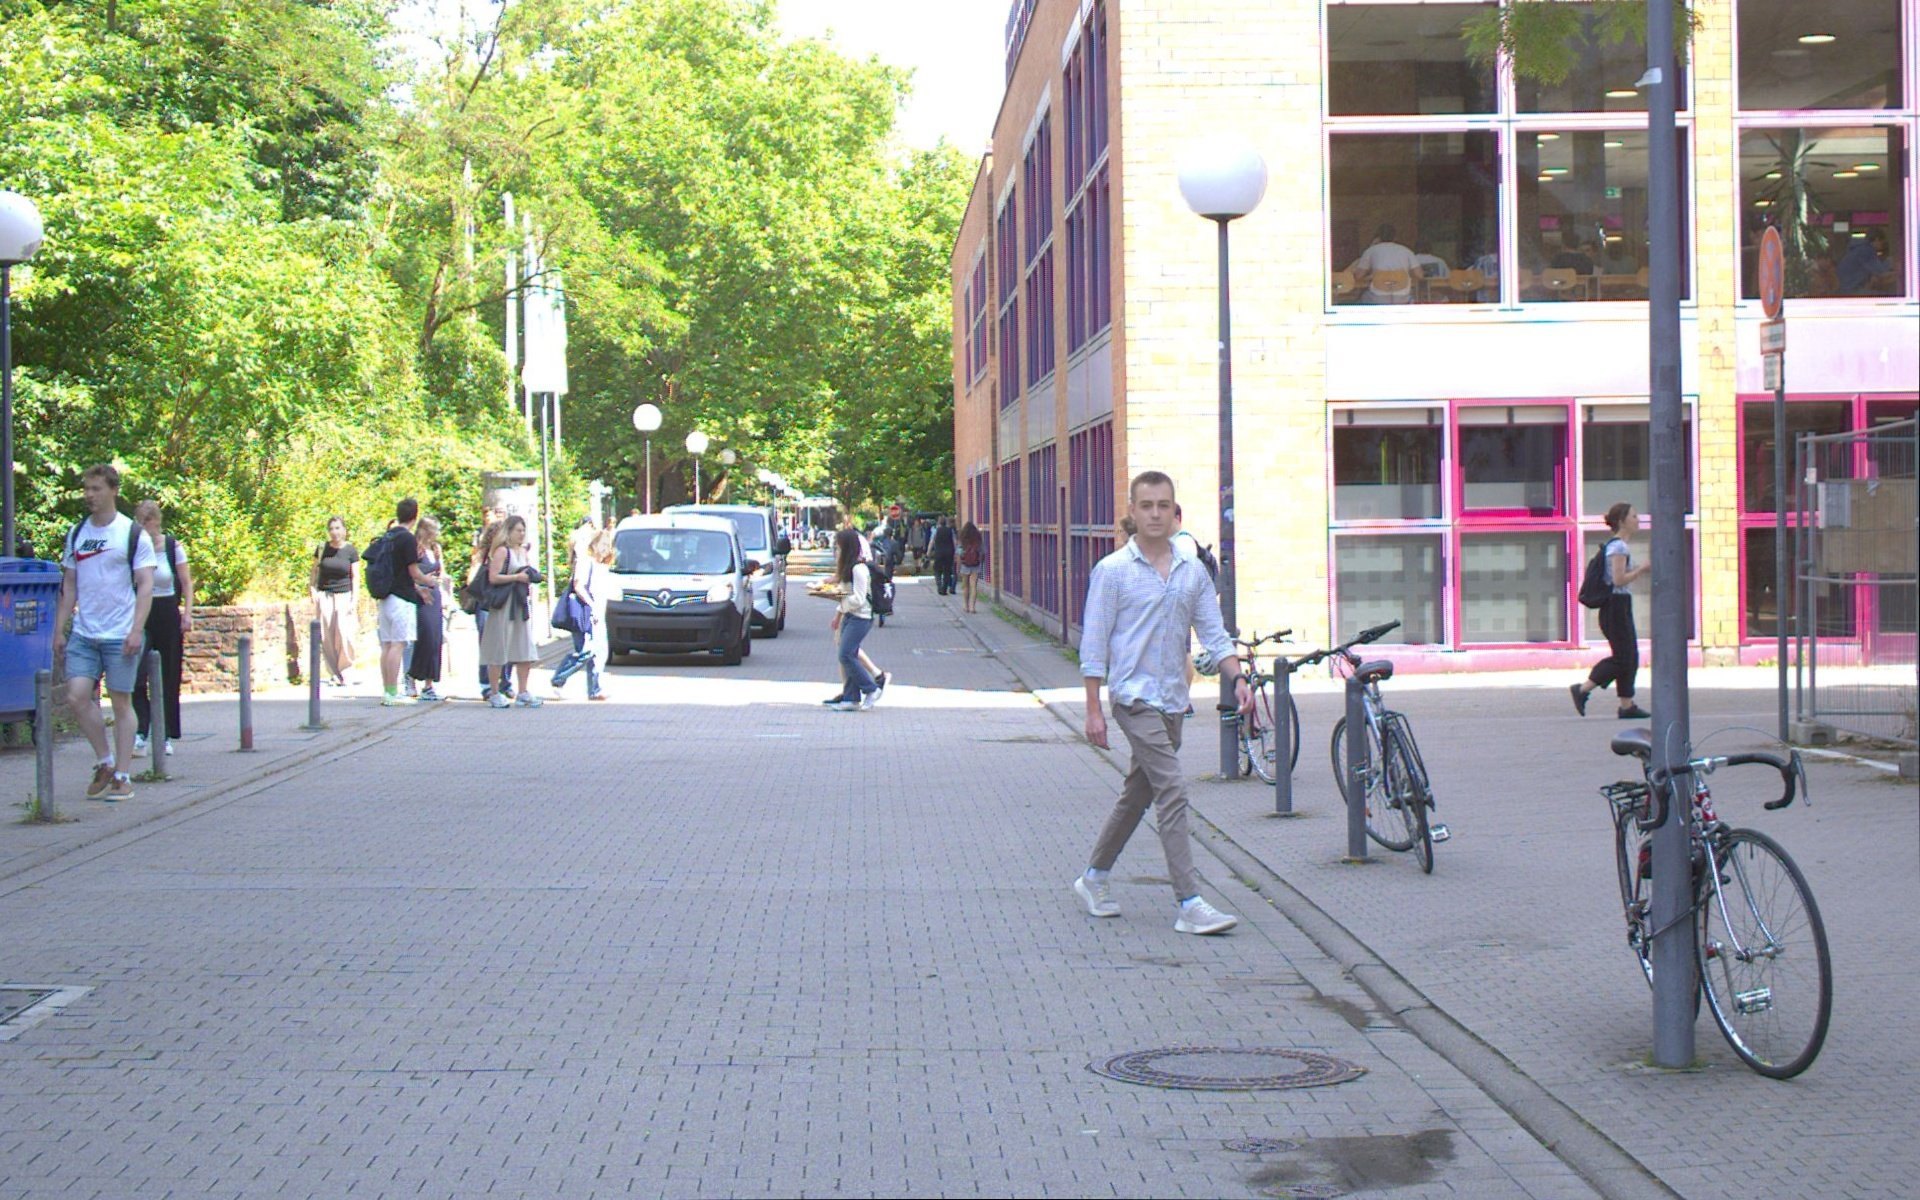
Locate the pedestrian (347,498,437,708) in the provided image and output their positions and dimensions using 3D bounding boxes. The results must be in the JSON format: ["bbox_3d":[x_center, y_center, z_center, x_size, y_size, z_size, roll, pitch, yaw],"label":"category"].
[{"bbox_3d":[-5.024,0.022,30.437,0.682,1.838,0.783,0,0,-1],"label":"pedestrian"}]

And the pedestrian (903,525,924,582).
[{"bbox_3d":[-1.581,-1.573,116.187,0.653,1.916,0.817,-2,0,0],"label":"pedestrian"}]

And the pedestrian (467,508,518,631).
[{"bbox_3d":[-7.029,-0.457,51.719,0.682,1.838,0.783,0,0,-1],"label":"pedestrian"}]

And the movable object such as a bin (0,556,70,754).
[{"bbox_3d":[-6.830,0.366,24.044,0.709,1.332,1.239,2,1,8],"label":"movable object such as a bin"}]

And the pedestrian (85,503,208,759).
[{"bbox_3d":[-5.585,0.199,23.645,0.682,1.722,1.002,0,1,-5],"label":"pedestrian"}]

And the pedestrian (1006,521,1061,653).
[{"bbox_3d":[0.975,-0.180,45.803,0.682,1.741,0.783,0,0,-1],"label":"pedestrian"}]

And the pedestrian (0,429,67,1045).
[{"bbox_3d":[-3.391,0.407,10.335,0.887,1.851,1.030,1,1,32],"label":"pedestrian"}]

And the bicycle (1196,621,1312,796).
[{"bbox_3d":[1.784,0.640,21.038,0.450,0.958,1.740,-3,1,-2],"label":"bicycle"}]

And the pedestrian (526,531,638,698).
[{"bbox_3d":[-3.526,0.133,32.096,0.886,1.537,0.743,0,1,6],"label":"pedestrian"}]

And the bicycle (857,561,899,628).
[{"bbox_3d":[-1.368,-0.095,57.222,0.587,1.080,1.908,0,1,-5],"label":"bicycle"}]

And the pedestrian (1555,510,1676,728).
[{"bbox_3d":[5.010,0.140,26.304,0.852,1.645,0.588,0,0,6],"label":"pedestrian"}]

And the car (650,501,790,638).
[{"bbox_3d":[-3.582,-0.496,52.054,1.883,1.967,5.215,0,1,-2],"label":"car"}]

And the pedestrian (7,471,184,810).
[{"bbox_3d":[-4.910,0.222,19.577,0.724,1.875,1.082,0,0,0],"label":"pedestrian"}]

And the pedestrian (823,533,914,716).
[{"bbox_3d":[-0.822,0.217,30.668,0.780,1.615,0.685,0,0,-4],"label":"pedestrian"}]

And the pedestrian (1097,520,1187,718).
[{"bbox_3d":[1.570,0.164,29.537,0.697,1.667,0.588,-2,0,6],"label":"pedestrian"}]

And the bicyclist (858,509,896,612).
[{"bbox_3d":[-1.388,-0.665,57.393,0.587,1.710,0.665,0,1,-5],"label":"bicyclist"}]

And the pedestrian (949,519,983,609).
[{"bbox_3d":[0.118,-0.680,64.590,0.586,1.667,0.699,-2,0,0],"label":"pedestrian"}]

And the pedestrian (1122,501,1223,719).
[{"bbox_3d":[1.782,0.084,28.773,0.767,1.788,0.588,-2,0,6],"label":"pedestrian"}]

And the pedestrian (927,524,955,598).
[{"bbox_3d":[-0.427,-0.882,78.474,0.586,1.667,0.817,-2,0,0],"label":"pedestrian"}]

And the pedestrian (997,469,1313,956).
[{"bbox_3d":[0.758,0.414,13.636,0.783,1.839,1.118,0,1,-26],"label":"pedestrian"}]

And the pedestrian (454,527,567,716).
[{"bbox_3d":[-4.018,0.188,30.749,0.886,1.667,0.559,0,0,6],"label":"pedestrian"}]

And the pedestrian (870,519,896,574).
[{"bbox_3d":[-2.356,-1.629,105.361,0.725,1.667,0.748,-2,0,0],"label":"pedestrian"}]

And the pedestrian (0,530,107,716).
[{"bbox_3d":[-8.001,0.196,29.992,0.916,1.605,0.570,0,0,15],"label":"pedestrian"}]

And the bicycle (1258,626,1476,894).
[{"bbox_3d":[1.802,0.684,15.448,0.708,1.089,1.749,0,1,-2],"label":"bicycle"}]

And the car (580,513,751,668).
[{"bbox_3d":[-3.524,-0.162,41.799,1.790,1.755,4.482,-1,1,-2],"label":"car"}]

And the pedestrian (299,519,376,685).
[{"bbox_3d":[-6.164,0.018,34.066,0.682,1.615,0.979,0,0,-6],"label":"pedestrian"}]

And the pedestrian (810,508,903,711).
[{"bbox_3d":[-0.956,0.082,31.526,0.825,1.838,0.685,0,0,-4],"label":"pedestrian"}]

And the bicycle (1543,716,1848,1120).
[{"bbox_3d":[2.044,0.849,9.728,0.395,0.932,1.732,-2,1,-2],"label":"bicycle"}]
